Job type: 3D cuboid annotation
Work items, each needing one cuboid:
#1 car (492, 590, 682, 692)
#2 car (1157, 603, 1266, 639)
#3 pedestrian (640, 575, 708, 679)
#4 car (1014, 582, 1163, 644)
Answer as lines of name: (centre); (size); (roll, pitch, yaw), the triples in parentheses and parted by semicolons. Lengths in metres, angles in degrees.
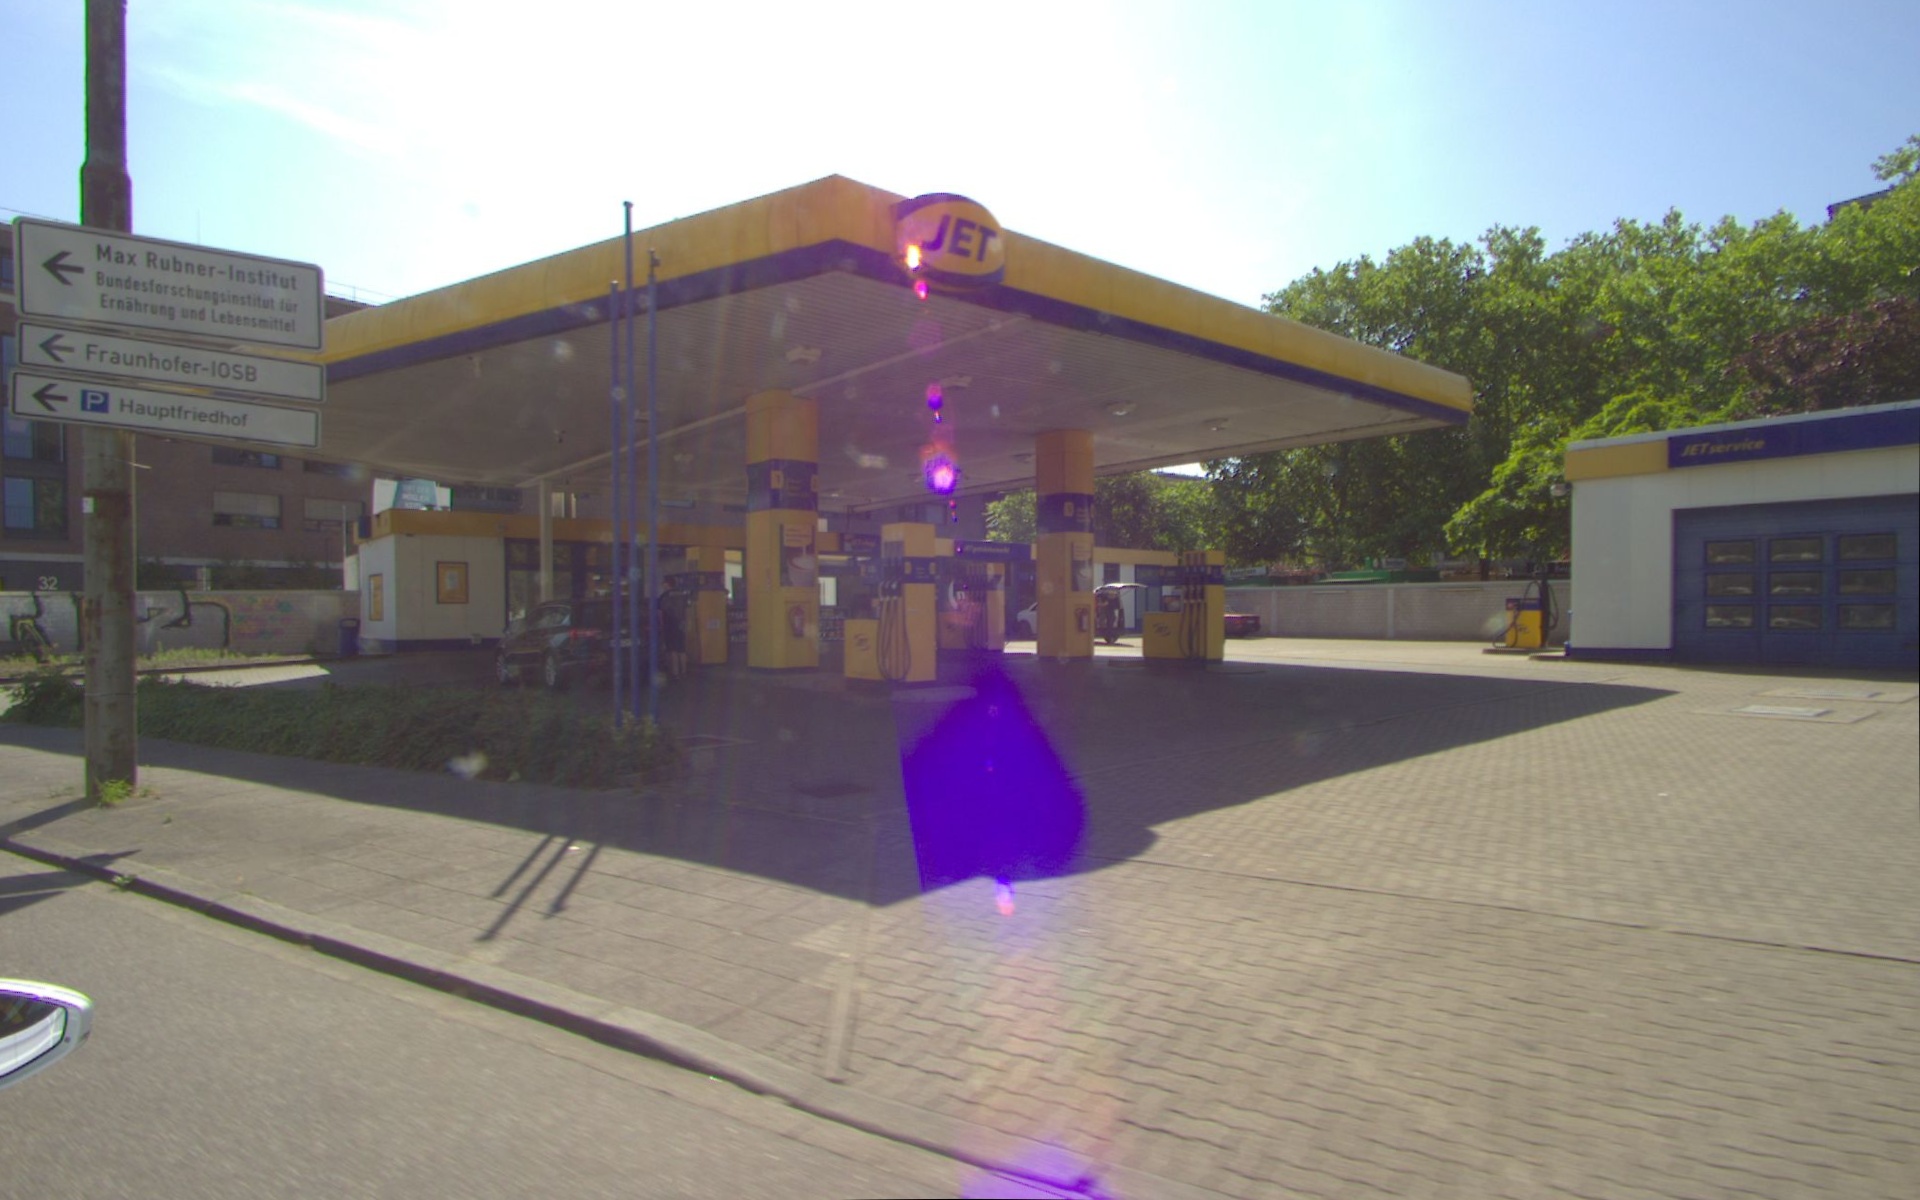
car: (-6.635, 0.669, 17.541); (1.740, 1.475, 4.374); (-4, 2, -39)
car: (10.226, 0.828, 40.909); (1.742, 1.378, 4.096); (-1, 0, -41)
pedestrian: (-4.974, 0.459, 17.444); (0.734, 1.748, 0.855); (0, 1, 29)
car: (4.372, 0.414, 34.793); (1.743, 2.009, 5.257); (-1, 1, -42)
